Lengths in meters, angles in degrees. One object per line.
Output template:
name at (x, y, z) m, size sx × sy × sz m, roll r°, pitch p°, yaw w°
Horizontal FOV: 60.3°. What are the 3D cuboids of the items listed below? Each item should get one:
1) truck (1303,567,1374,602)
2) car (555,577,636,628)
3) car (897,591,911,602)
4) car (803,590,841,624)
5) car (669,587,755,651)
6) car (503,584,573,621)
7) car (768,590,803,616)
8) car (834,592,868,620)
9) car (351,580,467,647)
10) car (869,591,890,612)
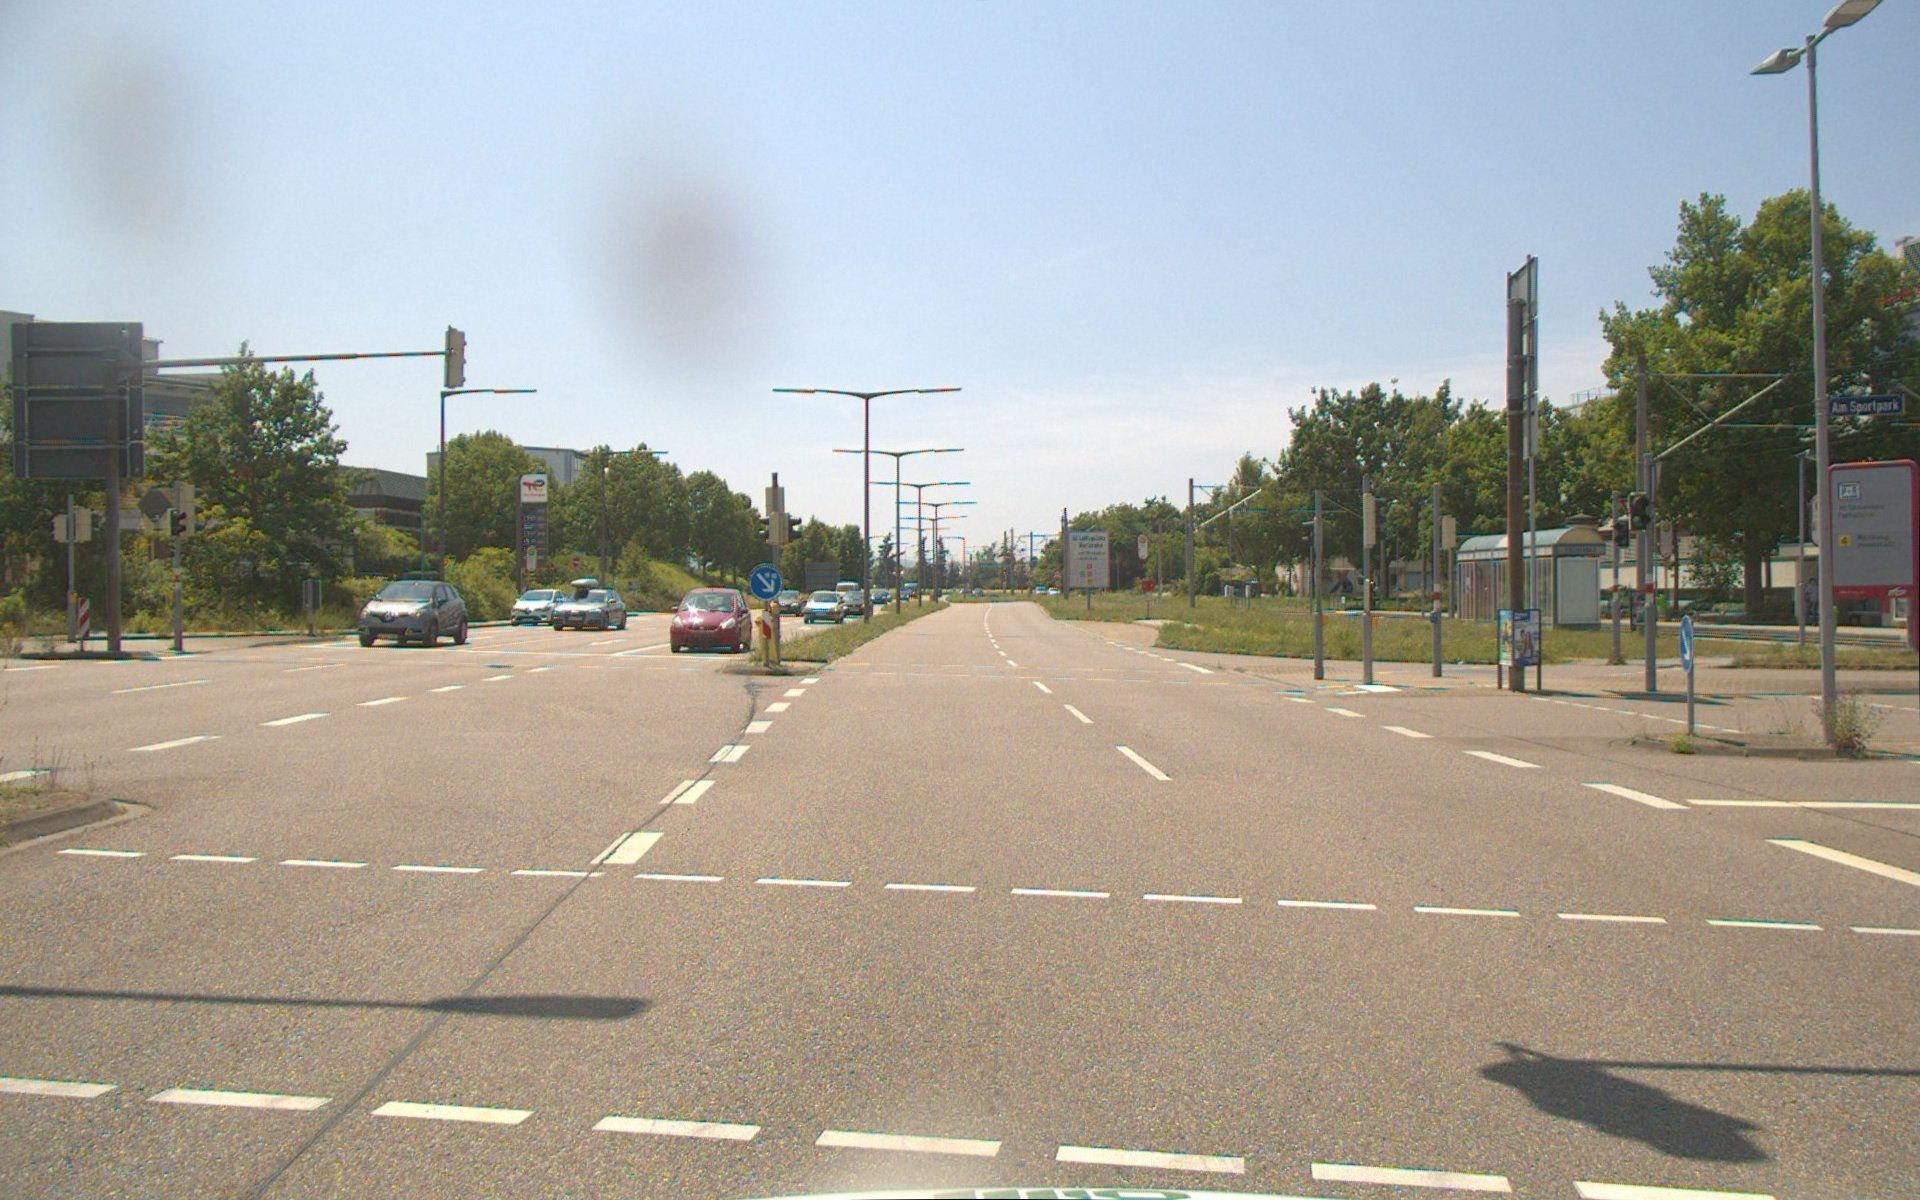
truck at (33.838, -1.360, 148.024) m, size 5.730 × 2.893 × 2.316 m, roll -2°, pitch 0°, yaw -8°
car at (-13.088, 0.067, 59.598) m, size 1.925 × 1.780 × 5.020 m, roll 0°, pitch 0°, yaw -2°
car at (-7.903, -0.477, 234.743) m, size 1.695 × 1.483 × 4.566 m, roll 0°, pitch 0°, yaw 2°
car at (-6.227, 0.286, 74.971) m, size 1.529 × 1.448 × 3.853 m, roll 0°, pitch 1°, yaw -2°
car at (-6.090, 0.433, 40.955) m, size 1.625 × 1.516 × 3.999 m, roll 0°, pitch 0°, yaw -2°
car at (-17.208, 0.092, 67.604) m, size 1.785 × 1.475 × 3.828 m, roll 0°, pitch 0°, yaw 2°
car at (-9.843, 0.144, 93.550) m, size 1.604 × 1.454 × 4.051 m, roll 0°, pitch 0°, yaw 0°
car at (-5.983, 0.321, 91.364) m, size 1.642 × 1.459 × 4.190 m, roll 0°, pitch 0°, yaw -1°
car at (-13.599, 0.306, 41.018) m, size 1.625 × 1.566 × 3.999 m, roll 0°, pitch 0°, yaw -2°
car at (-8.129, 0.172, 166.303) m, size 1.954 × 2.049 × 3.997 m, roll 1°, pitch 0°, yaw -4°
